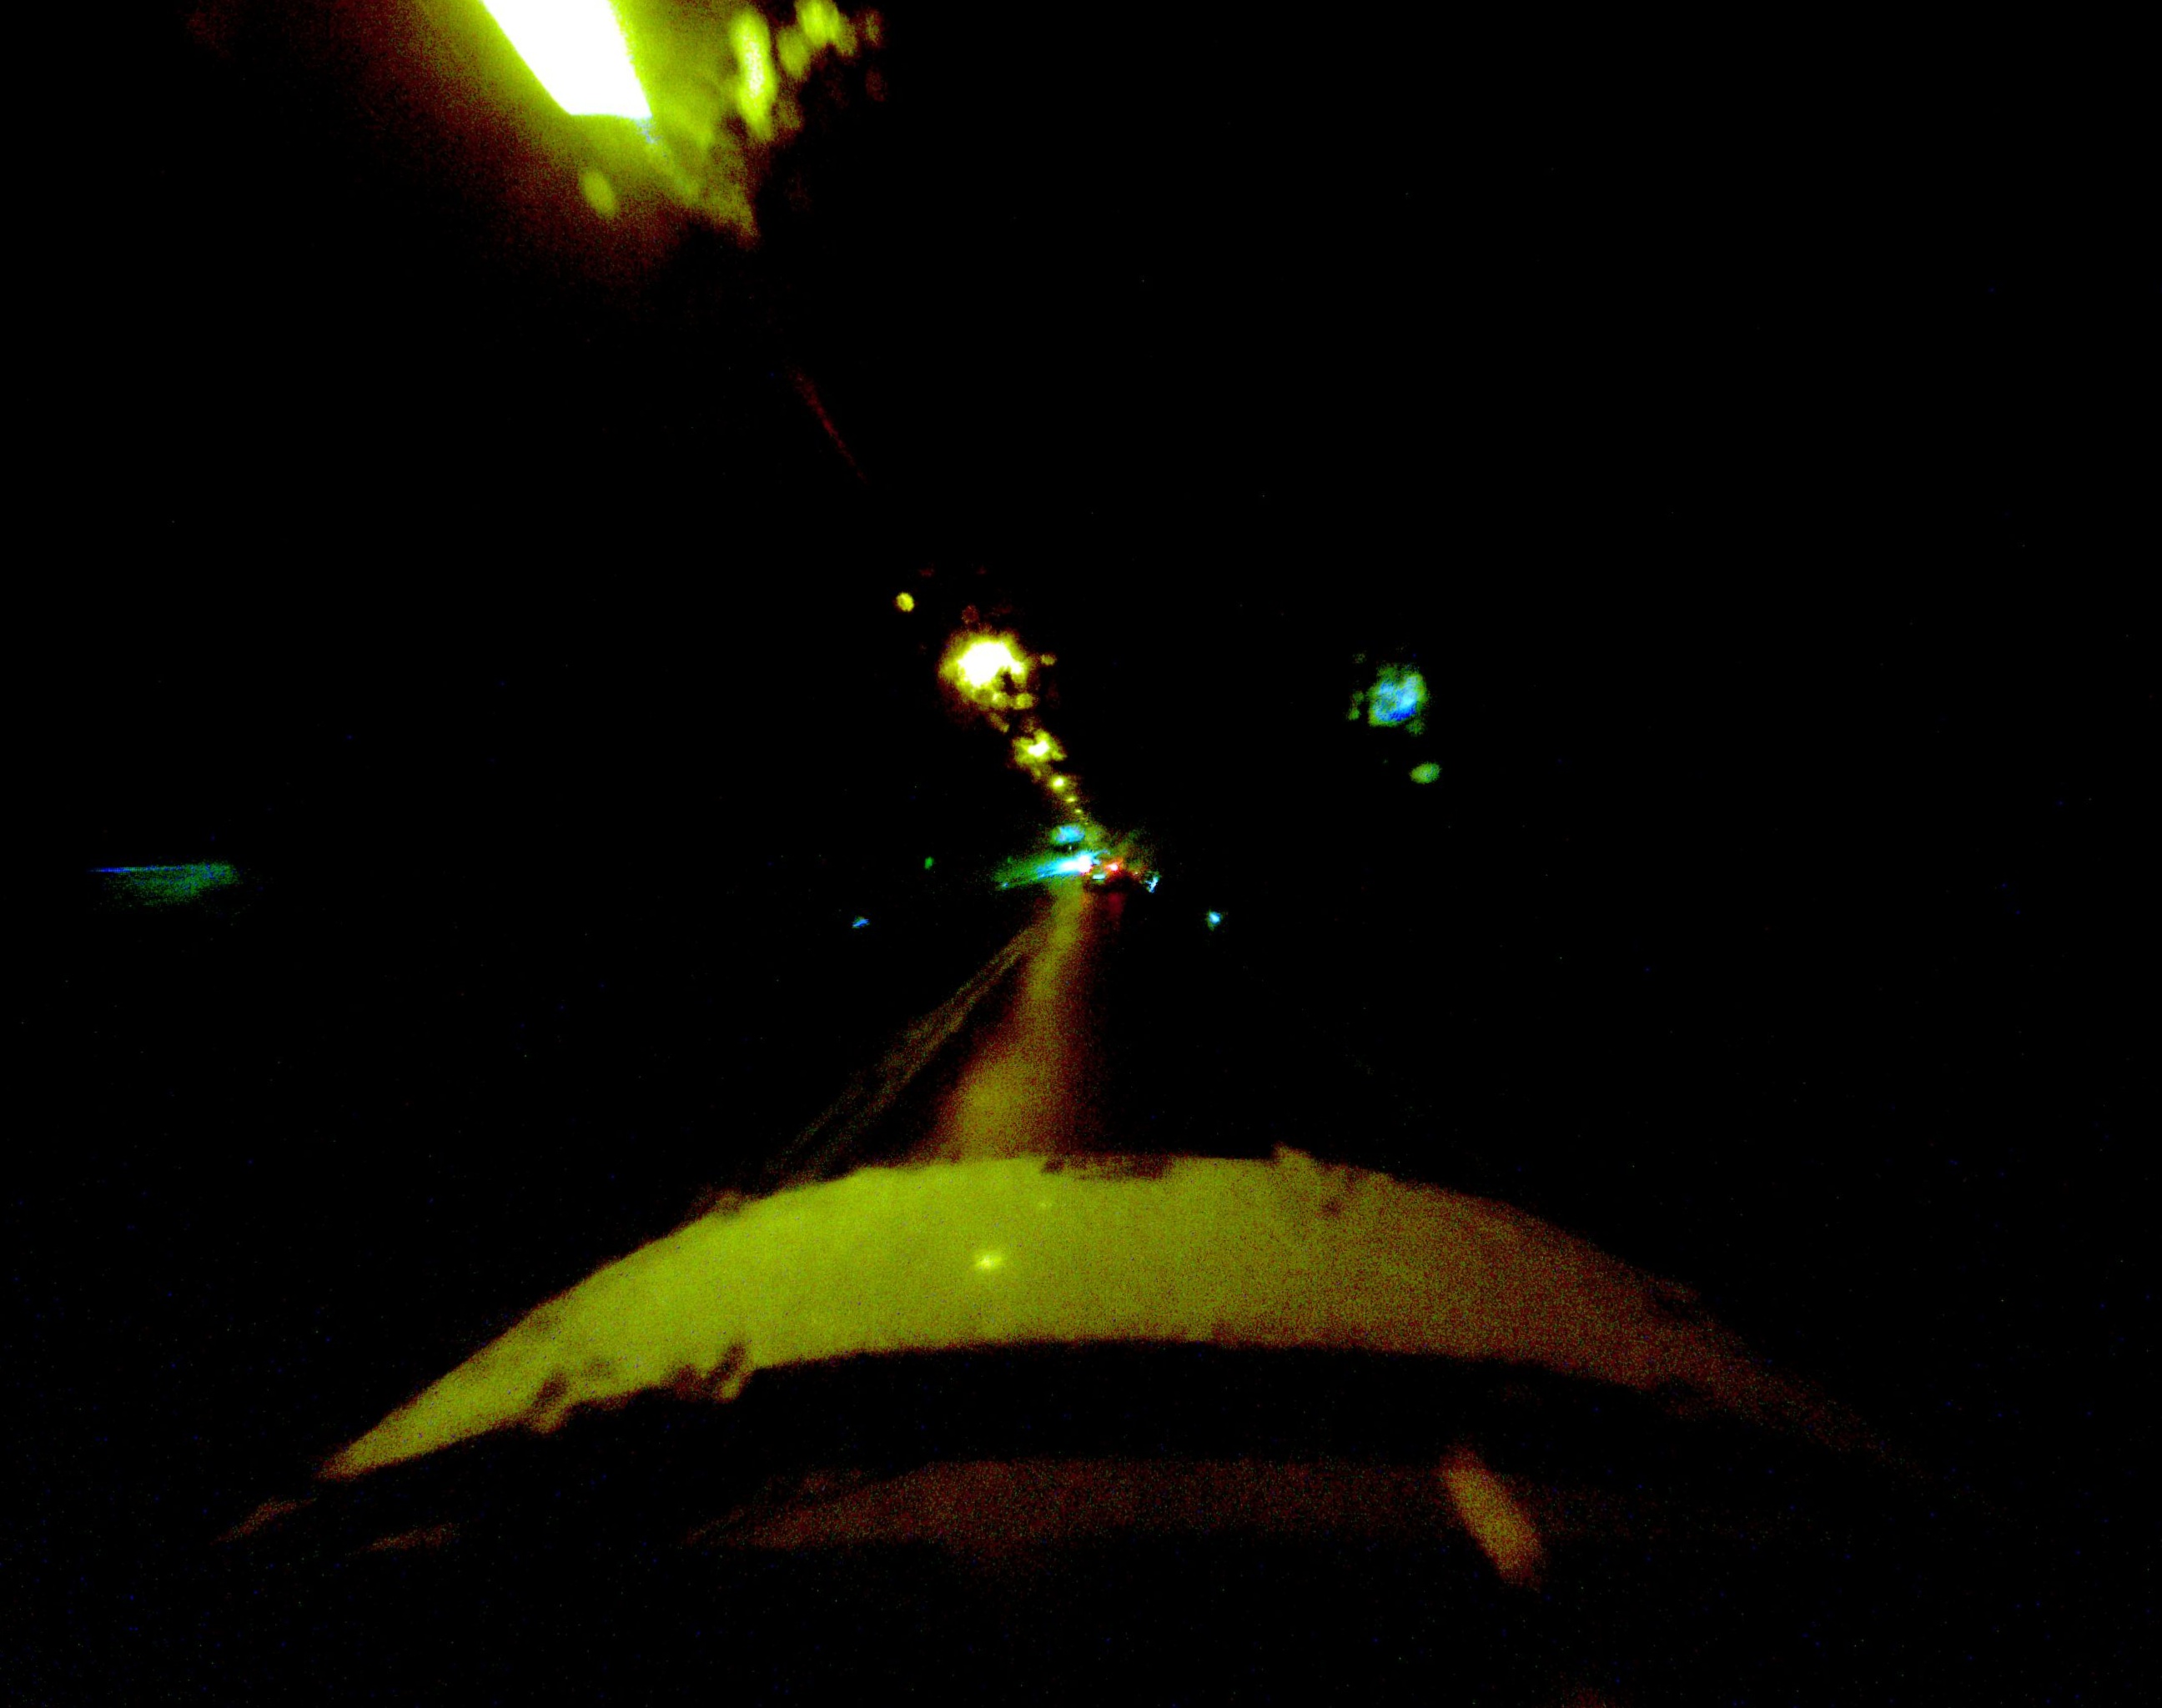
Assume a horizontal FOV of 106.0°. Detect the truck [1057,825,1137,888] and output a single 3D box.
[{"bbox_3d":[0.916,0.132,41.780,3.521,2.693,8.960,-3,0,2],"label":"truck"}]
